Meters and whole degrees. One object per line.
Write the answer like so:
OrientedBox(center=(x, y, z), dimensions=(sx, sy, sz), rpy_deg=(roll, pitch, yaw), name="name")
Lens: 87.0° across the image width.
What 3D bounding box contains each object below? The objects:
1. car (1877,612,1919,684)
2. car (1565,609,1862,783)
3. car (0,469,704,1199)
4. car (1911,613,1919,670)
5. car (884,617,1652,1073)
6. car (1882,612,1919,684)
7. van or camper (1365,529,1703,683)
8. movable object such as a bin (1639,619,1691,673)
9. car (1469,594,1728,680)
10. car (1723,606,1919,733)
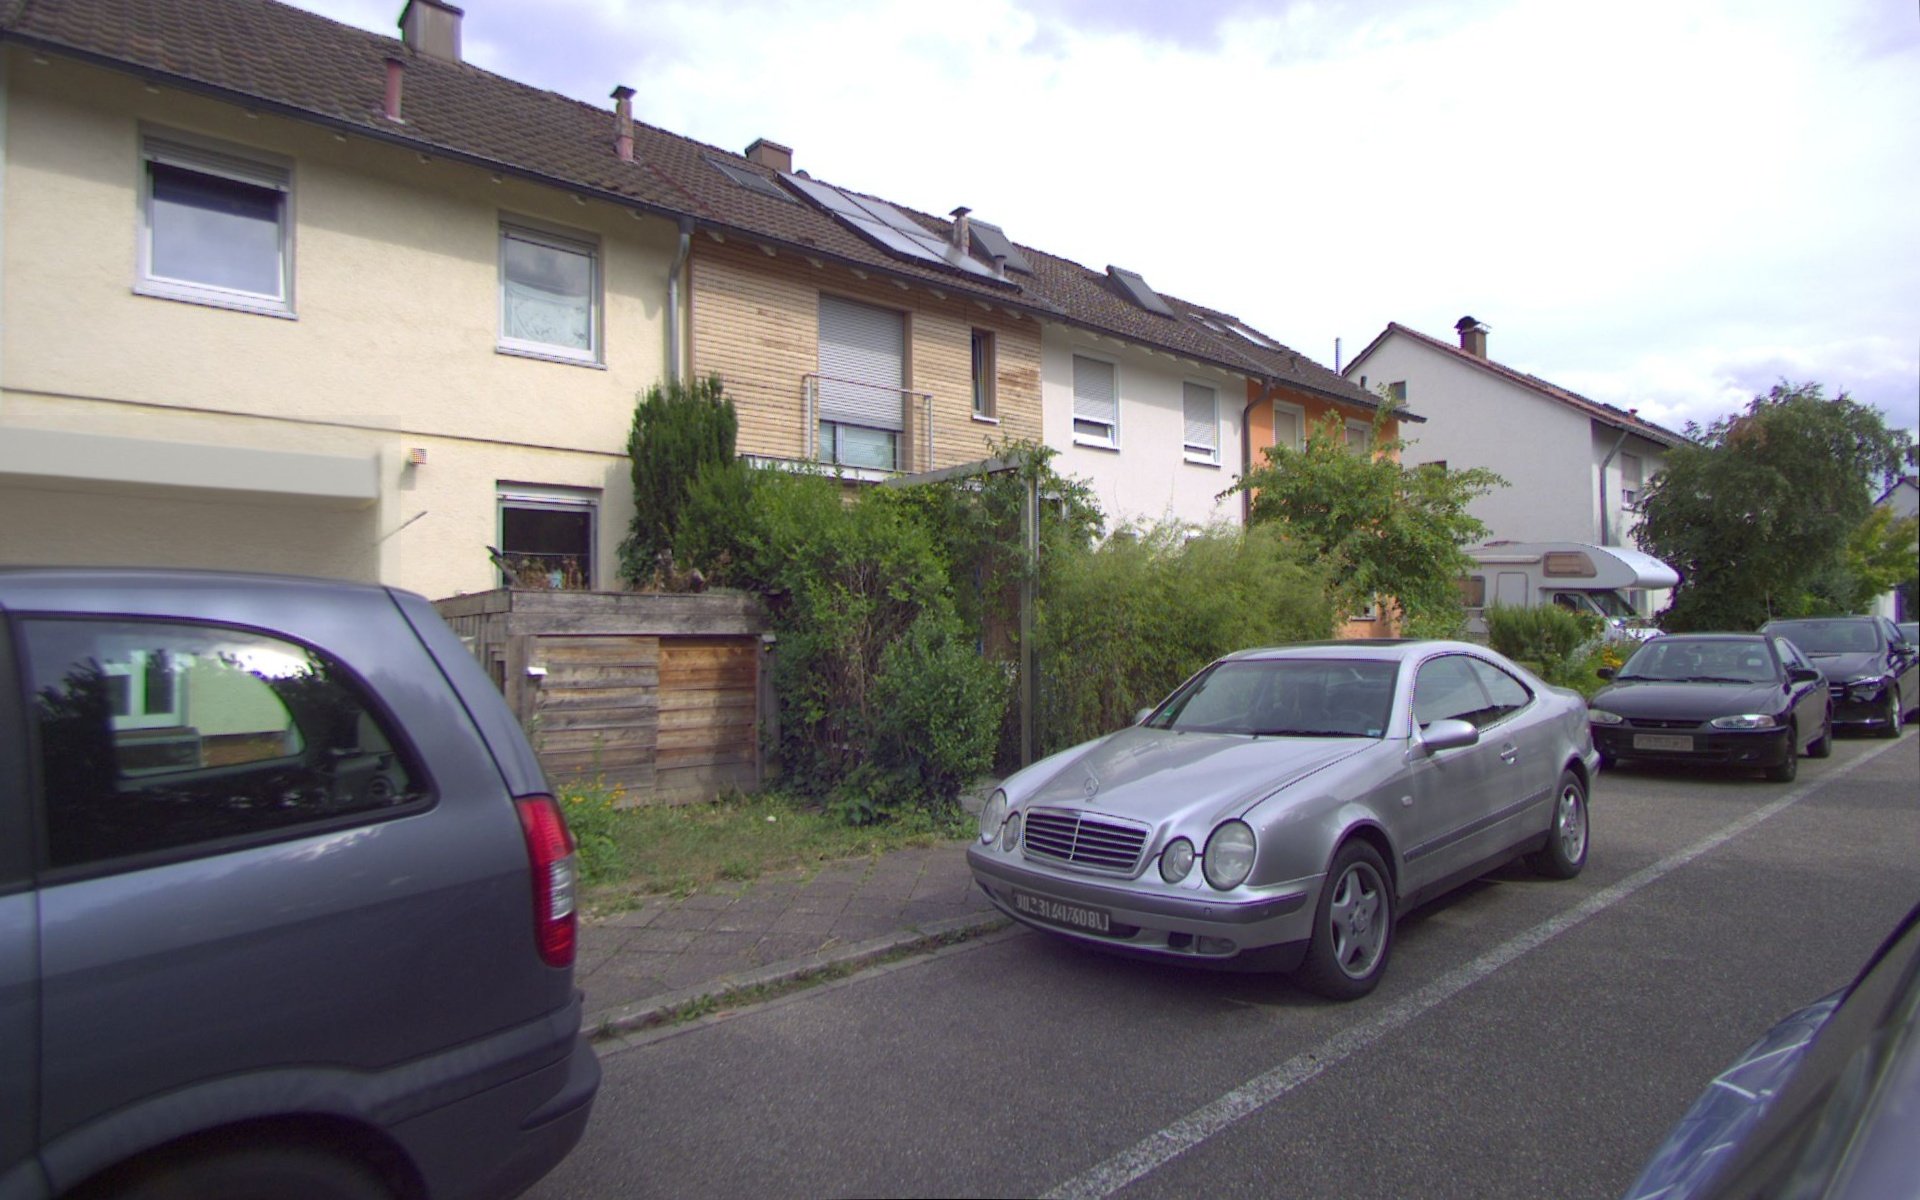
OrientedBox(center=(21.487, 0.999, 21.972), dimensions=(4.141, 1.490, 1.745), rpy_deg=(1, -2, -40), name="car")
OrientedBox(center=(7.924, 0.835, 10.506), dimensions=(4.056, 1.446, 1.734), rpy_deg=(0, -2, -43), name="car")
OrientedBox(center=(-2.796, 0.662, 1.423), dimensions=(4.388, 1.675, 1.869), rpy_deg=(0, -2, -42), name="car")
OrientedBox(center=(25.512, 0.995, 25.568), dimensions=(4.616, 1.382, 1.695), rpy_deg=(0, -2, -41), name="car")
OrientedBox(center=(2.011, 0.849, 5.532), dimensions=(4.686, 1.426, 1.869), rpy_deg=(1, -3, -43), name="car")
OrientedBox(center=(21.403, 0.987, 21.916), dimensions=(4.148, 1.461, 1.704), rpy_deg=(0, -3, -43), name="car")
OrientedBox(center=(12.073, 0.140, 21.752), dimensions=(2.490, 2.854, 5.814), rpy_deg=(1, -1, -37), name="van or camper")
OrientedBox(center=(16.374, 1.055, 23.507), dimensions=(1.080, 1.209, 0.721), rpy_deg=(1, -1, -40), name="movable object such as a bin")
OrientedBox(center=(14.183, 0.795, 22.733), dimensions=(1.864, 1.730, 4.542), rpy_deg=(0, -2, -37), name="car")
OrientedBox(center=(12.245, 0.838, 14.000), dimensions=(4.566, 1.486, 1.752), rpy_deg=(0, -2, -41), name="car")
